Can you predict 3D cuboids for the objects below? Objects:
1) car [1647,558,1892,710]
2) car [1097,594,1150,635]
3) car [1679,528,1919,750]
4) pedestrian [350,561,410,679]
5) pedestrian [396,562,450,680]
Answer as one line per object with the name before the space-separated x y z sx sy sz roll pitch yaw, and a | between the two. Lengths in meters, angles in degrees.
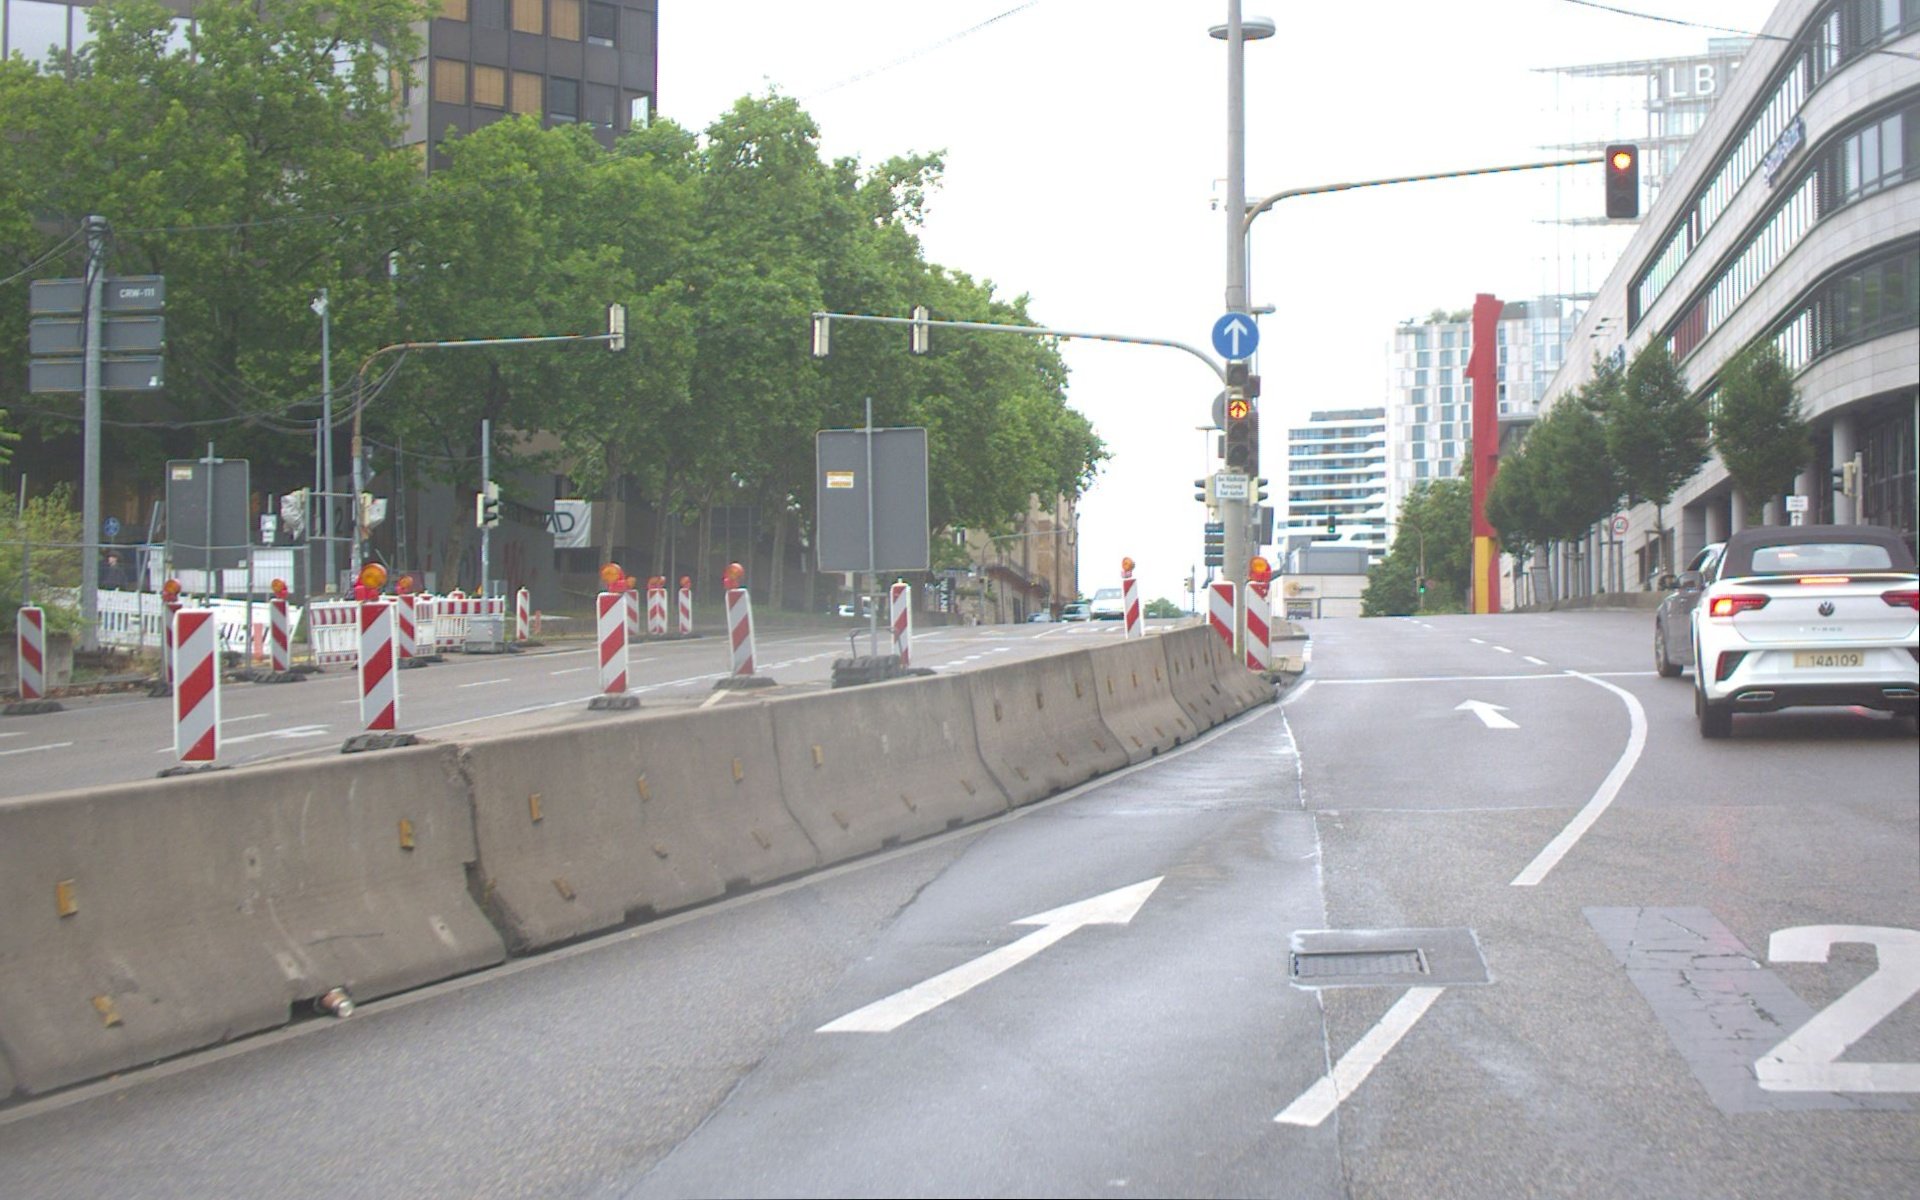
car | 8.090 0.320 34.649 1.740 1.438 3.999 0 0 4
car | 6.240 0.536 130.788 1.761 1.456 4.359 -2 0 6
car | 6.525 0.260 26.194 1.965 1.543 4.217 -1 0 11
pedestrian | -9.475 0.334 56.150 0.761 1.916 0.742 0 -2 9
pedestrian | -8.743 0.351 56.006 0.672 1.895 0.775 0 -2 9
